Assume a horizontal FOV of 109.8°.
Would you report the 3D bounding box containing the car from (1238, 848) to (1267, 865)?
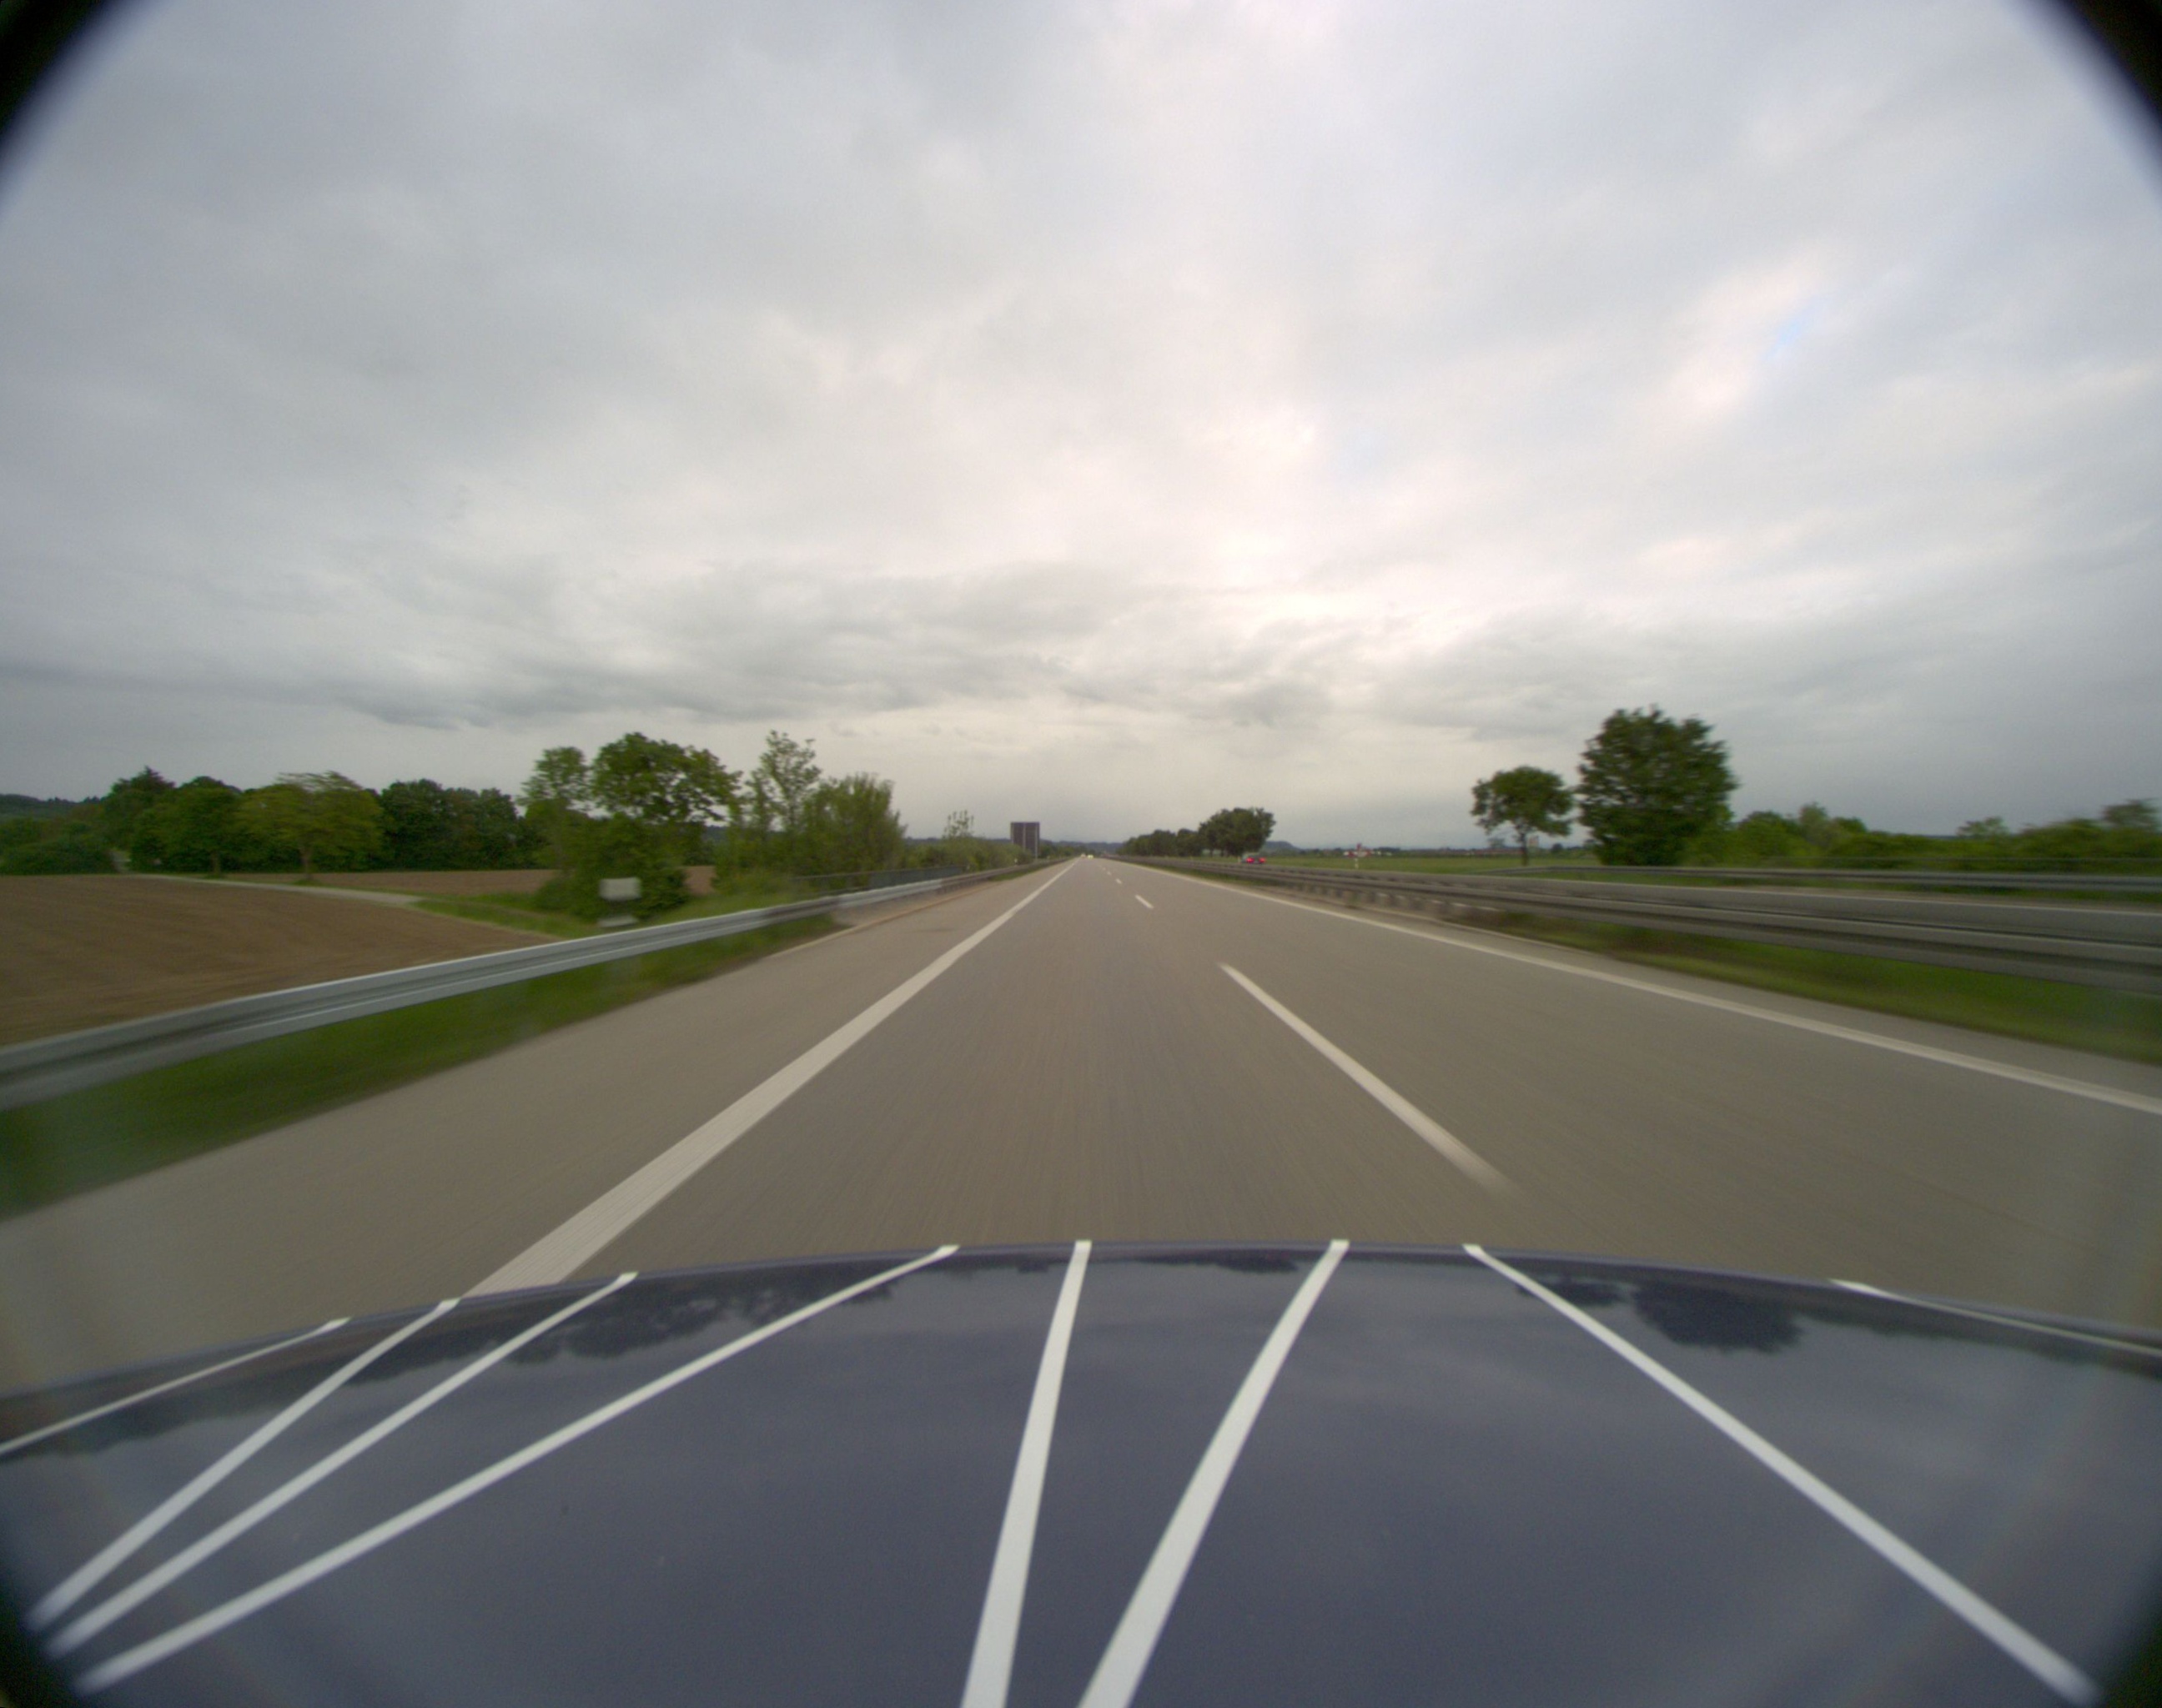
[{"bbox_3d":[17.378,0.186,77.139,1.822,1.553,4.523,-3,1,0],"label":"car"}]
